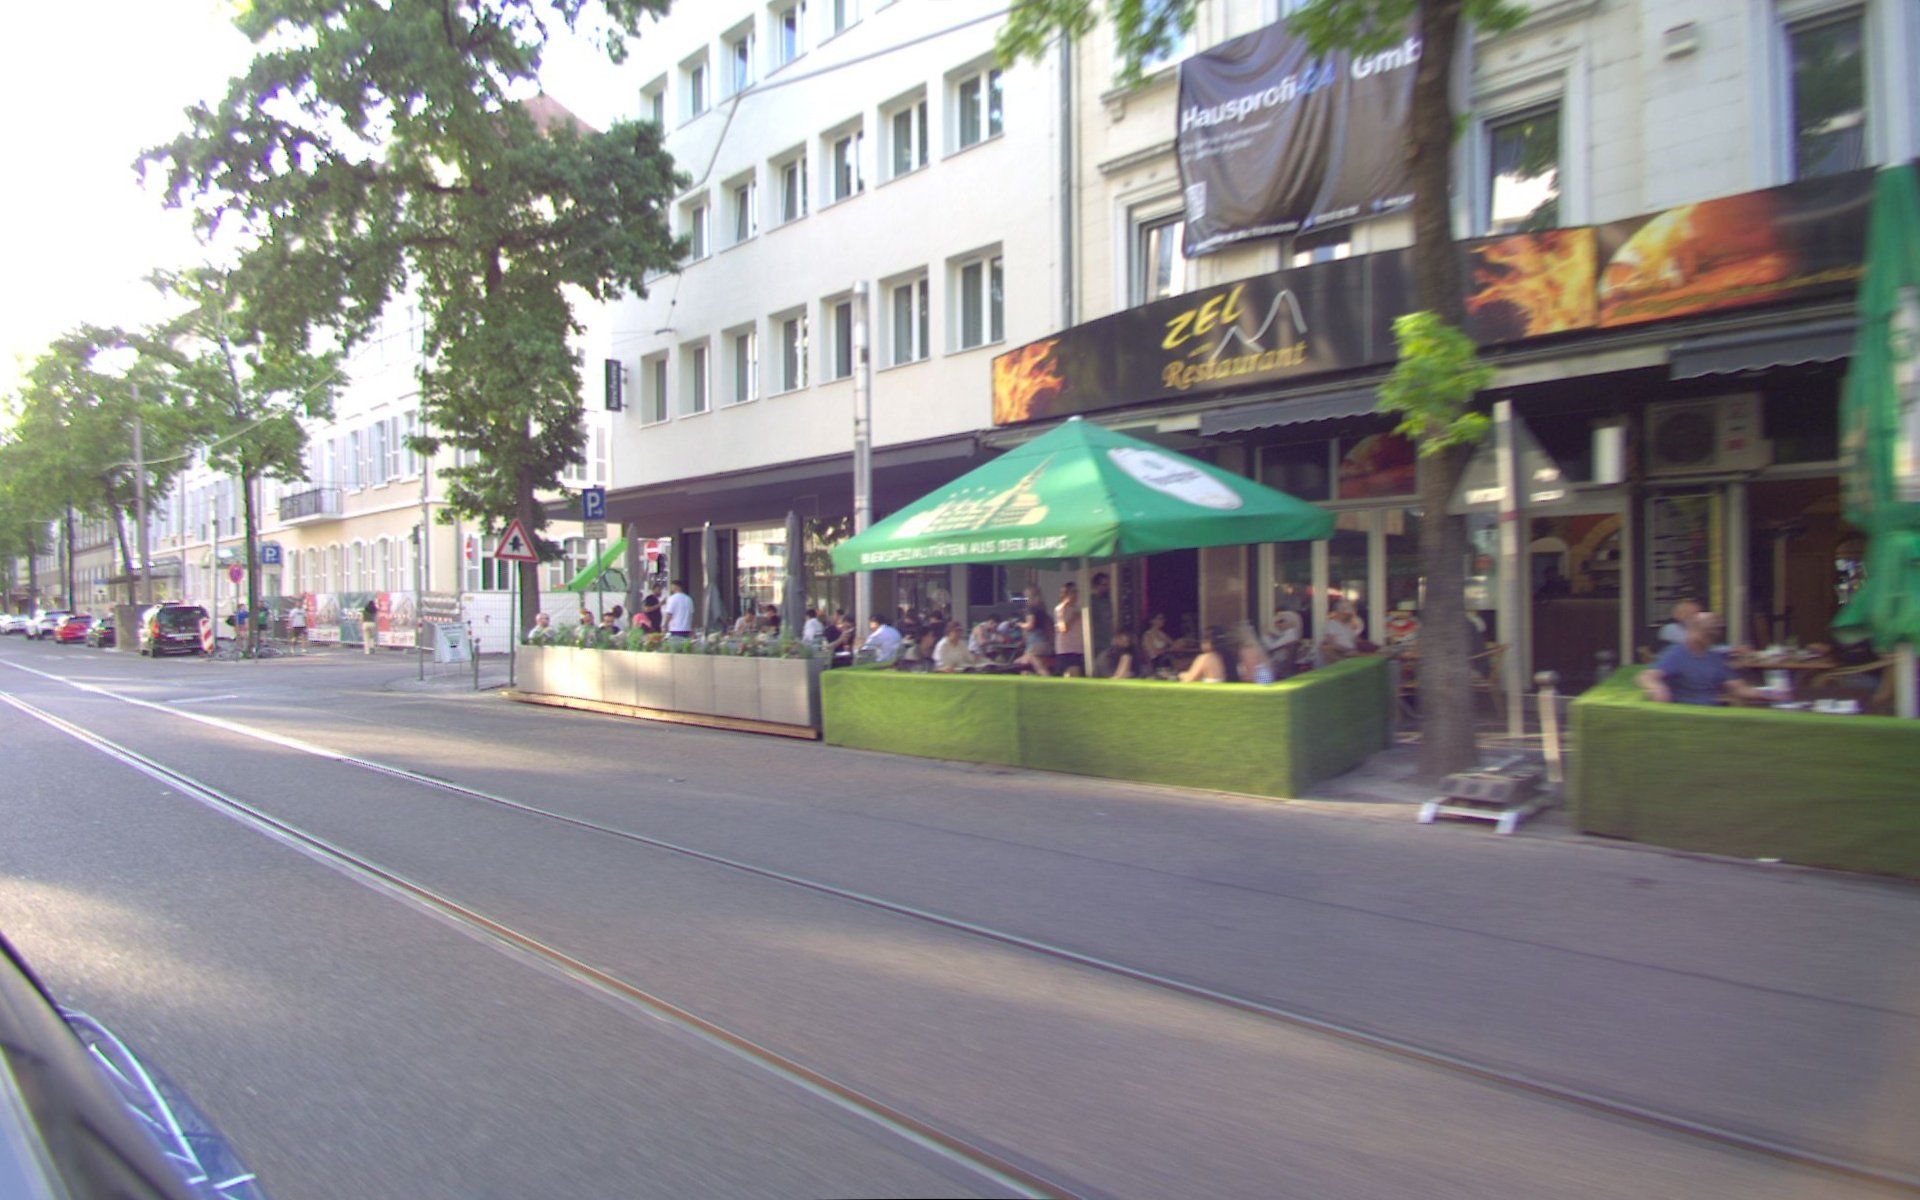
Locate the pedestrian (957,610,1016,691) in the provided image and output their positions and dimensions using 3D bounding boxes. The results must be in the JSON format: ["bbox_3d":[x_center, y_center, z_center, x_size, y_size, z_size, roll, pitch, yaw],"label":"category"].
[{"bbox_3d":[0.404,0.758,15.409,0.687,1.170,0.546,-1,1,42],"label":"pedestrian"}]

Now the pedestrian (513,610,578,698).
[{"bbox_3d":[-6.920,0.886,16.895,0.807,1.397,0.682,-1,1,43],"label":"pedestrian"}]

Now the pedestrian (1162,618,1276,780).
[{"bbox_3d":[2.192,0.803,8.560,0.696,1.254,0.612,-1,2,41],"label":"pedestrian"}]

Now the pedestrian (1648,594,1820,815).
[{"bbox_3d":[5.297,0.663,6.922,0.872,1.353,0.747,-1,2,41],"label":"pedestrian"}]

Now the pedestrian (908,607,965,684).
[{"bbox_3d":[-0.372,0.717,16.125,0.687,1.170,0.546,-1,1,42],"label":"pedestrian"}]

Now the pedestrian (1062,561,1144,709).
[{"bbox_3d":[1.781,0.413,12.599,0.697,1.770,0.670,-1,1,43],"label":"pedestrian"}]

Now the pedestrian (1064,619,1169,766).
[{"bbox_3d":[1.452,0.830,9.389,0.696,1.254,0.612,-1,2,41],"label":"pedestrian"}]

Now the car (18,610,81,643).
[{"bbox_3d":[-52.477,1.535,58.277,4.945,1.701,1.848,-1,2,39],"label":"car"}]

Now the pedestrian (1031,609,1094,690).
[{"bbox_3d":[1.544,0.728,15.208,0.687,1.167,0.595,-1,1,42],"label":"pedestrian"}]

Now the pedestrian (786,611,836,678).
[{"bbox_3d":[-2.685,0.789,18.235,0.687,1.170,0.546,-1,1,42],"label":"pedestrian"}]

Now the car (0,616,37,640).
[{"bbox_3d":[-66.021,1.928,70.668,4.616,1.477,1.872,-1,2,42],"label":"car"}]

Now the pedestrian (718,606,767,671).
[{"bbox_3d":[-4.430,0.775,20.620,0.738,1.279,0.638,-1,1,42],"label":"pedestrian"}]

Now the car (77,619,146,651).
[{"bbox_3d":[-38.611,1.551,46.023,4.506,1.254,1.700,-1,2,42],"label":"car"}]

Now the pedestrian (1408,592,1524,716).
[{"bbox_3d":[5.540,0.565,11.077,0.944,1.246,0.769,-1,2,41],"label":"pedestrian"}]

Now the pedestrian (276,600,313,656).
[{"bbox_3d":[-22.300,0.936,33.908,0.984,1.805,0.766,-1,2,43],"label":"pedestrian"}]

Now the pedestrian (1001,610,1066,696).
[{"bbox_3d":[1.070,0.754,14.756,0.687,1.182,0.595,-1,1,42],"label":"pedestrian"}]

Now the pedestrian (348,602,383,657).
[{"bbox_3d":[-18.709,0.927,31.857,0.967,1.669,0.699,-2,-1,43],"label":"pedestrian"}]

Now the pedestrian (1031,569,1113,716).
[{"bbox_3d":[1.330,0.486,12.049,0.696,1.683,0.612,-1,1,41],"label":"pedestrian"}]

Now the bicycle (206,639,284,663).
[{"bbox_3d":[-22.125,1.563,31.339,1.283,0.613,1.775,-1,1,45],"label":"bicycle"}]

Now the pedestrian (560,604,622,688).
[{"bbox_3d":[-6.464,0.792,17.705,0.807,1.397,0.682,-1,1,43],"label":"pedestrian"}]

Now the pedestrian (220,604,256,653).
[{"bbox_3d":[-27.711,1.088,38.850,0.884,1.795,0.856,-1,2,41],"label":"pedestrian"}]

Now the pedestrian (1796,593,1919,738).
[{"bbox_3d":[7.922,0.549,8.947,0.787,1.176,0.693,-1,2,41],"label":"pedestrian"}]

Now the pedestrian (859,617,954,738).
[{"bbox_3d":[-0.604,0.849,11.487,0.772,1.269,0.700,-1,1,44],"label":"pedestrian"}]

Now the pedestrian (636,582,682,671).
[{"bbox_3d":[-6.378,0.547,21.437,0.675,1.829,0.766,-3,1,-33],"label":"pedestrian"}]

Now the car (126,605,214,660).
[{"bbox_3d":[-28.740,1.143,36.760,4.559,1.846,1.837,-1,1,43],"label":"car"}]

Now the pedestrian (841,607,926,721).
[{"bbox_3d":[-0.971,0.790,12.854,0.781,1.357,0.700,-1,1,44],"label":"pedestrian"}]

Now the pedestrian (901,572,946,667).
[{"bbox_3d":[-0.727,0.373,20.122,0.754,1.833,0.688,-2,1,-9],"label":"pedestrian"}]

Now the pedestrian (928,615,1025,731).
[{"bbox_3d":[0.195,0.832,11.917,0.869,1.269,0.700,-1,1,44],"label":"pedestrian"}]

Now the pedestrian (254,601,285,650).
[{"bbox_3d":[-26.928,0.987,39.477,0.876,1.826,0.712,-1,2,41],"label":"pedestrian"}]

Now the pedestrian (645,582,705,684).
[{"bbox_3d":[-5.237,0.597,18.620,0.686,1.805,0.750,-1,1,38],"label":"pedestrian"}]

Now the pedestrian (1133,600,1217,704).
[{"bbox_3d":[2.755,0.646,12.955,0.798,1.251,0.663,-1,1,41],"label":"pedestrian"}]

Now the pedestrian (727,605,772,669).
[{"bbox_3d":[-4.283,0.749,20.593,0.687,1.245,0.546,-1,1,42],"label":"pedestrian"}]

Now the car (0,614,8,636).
[{"bbox_3d":[-80.432,2.154,83.704,4.764,1.754,1.927,-1,2,42],"label":"car"}]

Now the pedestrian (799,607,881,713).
[{"bbox_3d":[-1.601,0.777,13.466,0.807,1.321,0.682,-1,1,43],"label":"pedestrian"}]

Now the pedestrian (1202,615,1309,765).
[{"bbox_3d":[2.674,0.783,9.157,0.696,1.254,0.612,-1,2,41],"label":"pedestrian"}]

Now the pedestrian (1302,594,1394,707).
[{"bbox_3d":[4.606,0.580,12.020,0.787,1.241,0.729,-1,2,41],"label":"pedestrian"}]

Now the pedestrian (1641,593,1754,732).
[{"bbox_3d":[7.032,0.567,9.644,0.787,1.222,0.729,-1,2,41],"label":"pedestrian"}]

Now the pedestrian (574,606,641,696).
[{"bbox_3d":[-5.784,0.814,16.600,0.807,1.397,0.682,-1,1,43],"label":"pedestrian"}]

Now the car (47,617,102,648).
[{"bbox_3d":[-45.310,1.625,51.742,4.140,1.416,1.642,-1,2,43],"label":"car"}]

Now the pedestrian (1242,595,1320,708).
[{"bbox_3d":[3.984,0.618,12.570,0.696,1.319,0.612,-1,2,41],"label":"pedestrian"}]

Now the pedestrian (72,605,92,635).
[{"bbox_3d":[-52.309,1.170,60.314,0.933,1.755,0.736,-1,2,42],"label":"pedestrian"}]

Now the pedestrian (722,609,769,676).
[{"bbox_3d":[-4.127,0.807,19.504,0.687,1.245,0.546,-1,1,42],"label":"pedestrian"}]

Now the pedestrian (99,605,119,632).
[{"bbox_3d":[-51.471,1.119,61.239,0.933,1.592,0.736,-1,2,42],"label":"pedestrian"}]

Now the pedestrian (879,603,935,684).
[{"bbox_3d":[-0.903,0.724,17.085,0.687,1.308,0.596,-1,1,42],"label":"pedestrian"}]

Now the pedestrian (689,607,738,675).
[{"bbox_3d":[-4.919,0.800,20.182,0.727,1.291,0.620,-1,1,42],"label":"pedestrian"}]

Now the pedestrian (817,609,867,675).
[{"bbox_3d":[-2.169,0.758,18.585,0.687,1.170,0.546,-1,1,42],"label":"pedestrian"}]

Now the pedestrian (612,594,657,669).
[{"bbox_3d":[-7.919,0.754,24.597,0.851,1.754,0.800,-1,-1,-29],"label":"pedestrian"}]
